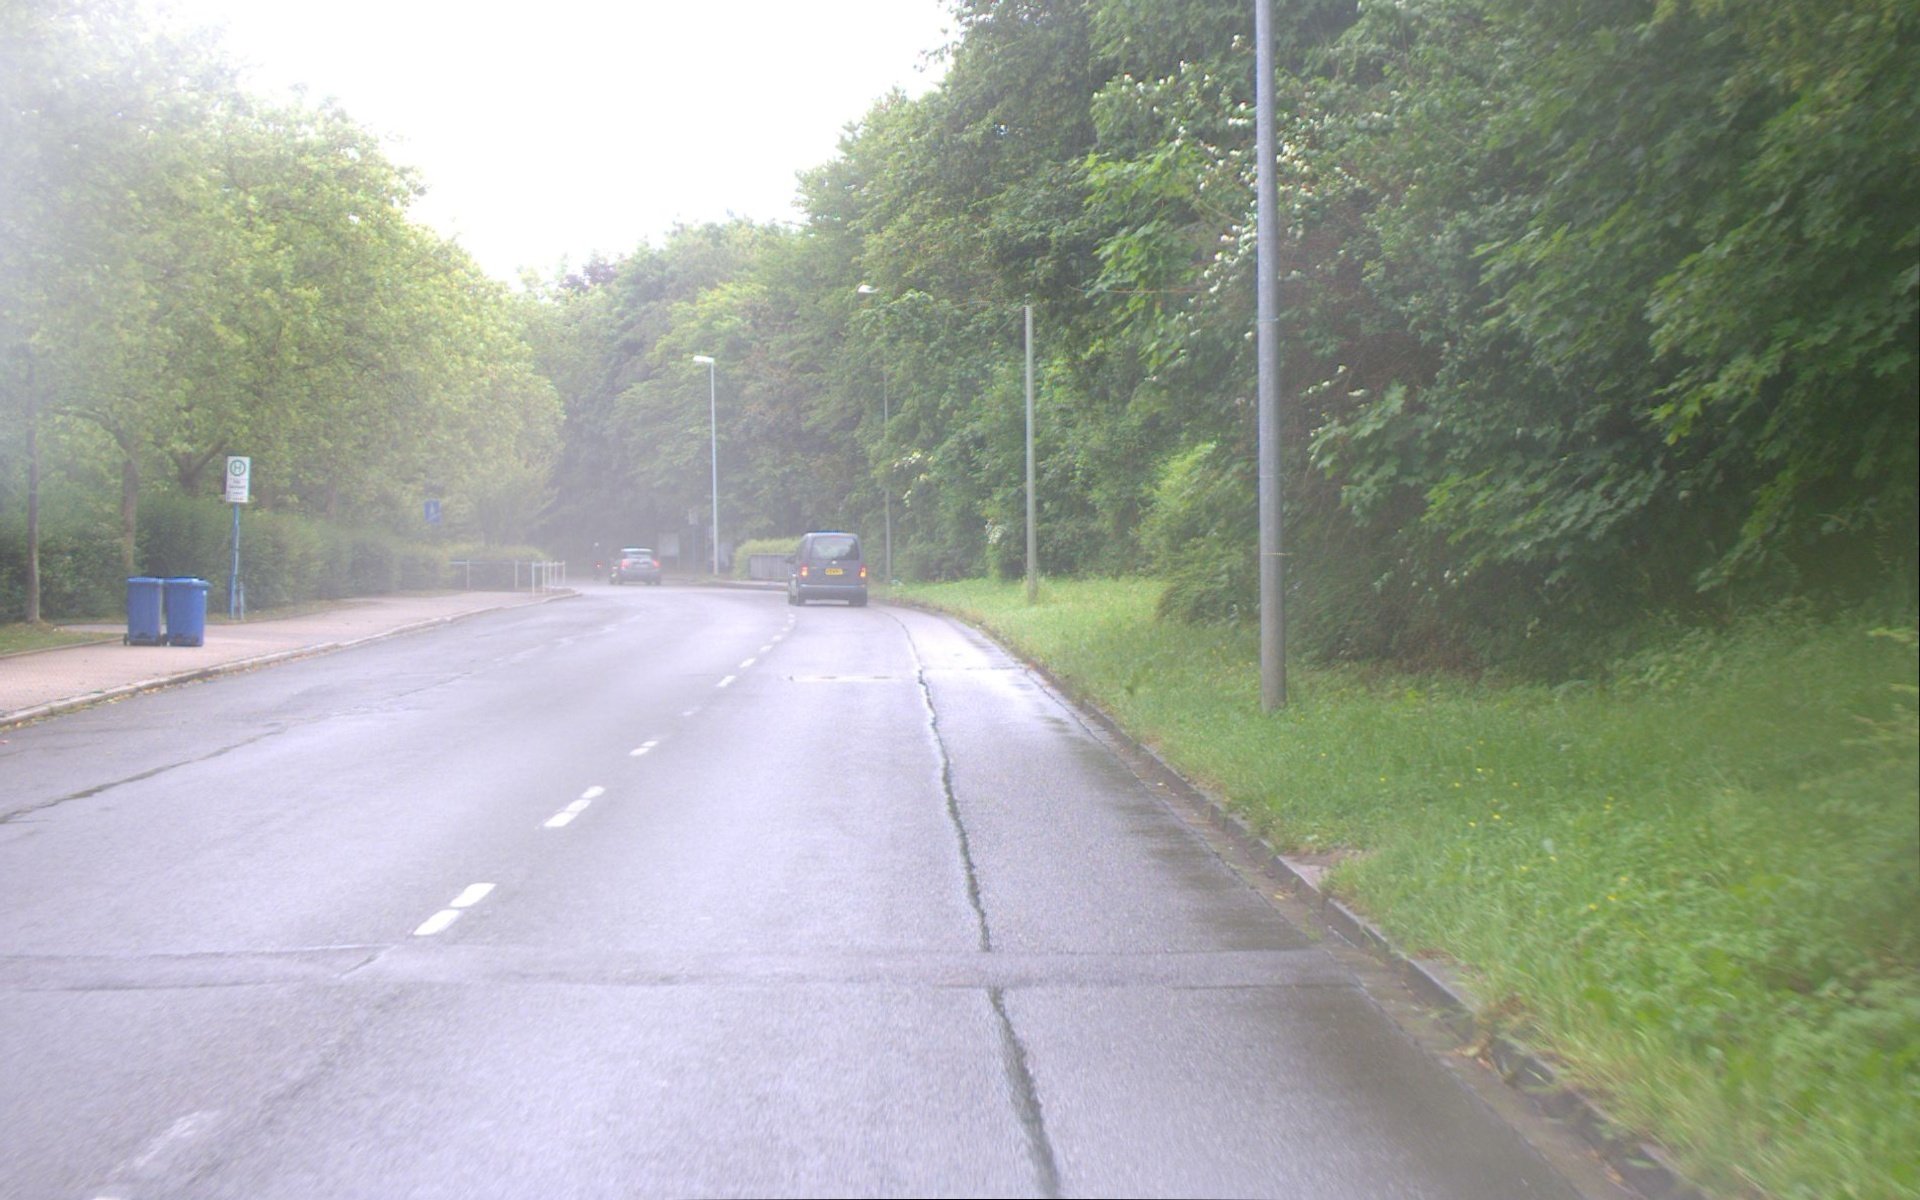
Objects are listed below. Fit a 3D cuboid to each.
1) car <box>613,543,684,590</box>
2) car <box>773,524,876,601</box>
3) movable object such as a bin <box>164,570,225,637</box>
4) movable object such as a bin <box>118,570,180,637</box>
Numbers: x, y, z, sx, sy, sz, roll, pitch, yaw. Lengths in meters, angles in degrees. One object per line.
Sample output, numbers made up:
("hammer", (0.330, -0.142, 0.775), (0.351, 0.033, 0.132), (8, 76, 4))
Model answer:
("car", (-12.217, -1.317, 134.518), (1.993, 1.766, 4.001), (-2, 1, -16))
("car", (-3.426, -0.961, 86.059), (1.993, 1.787, 4.002), (0, 2, -11))
("movable object such as a bin", (-12.146, 0.056, 54.532), (0.666, 1.023, 0.835), (-3, 2, -32))
("movable object such as a bin", (-12.779, 0.049, 54.157), (0.666, 1.023, 0.835), (-3, 2, -32))
